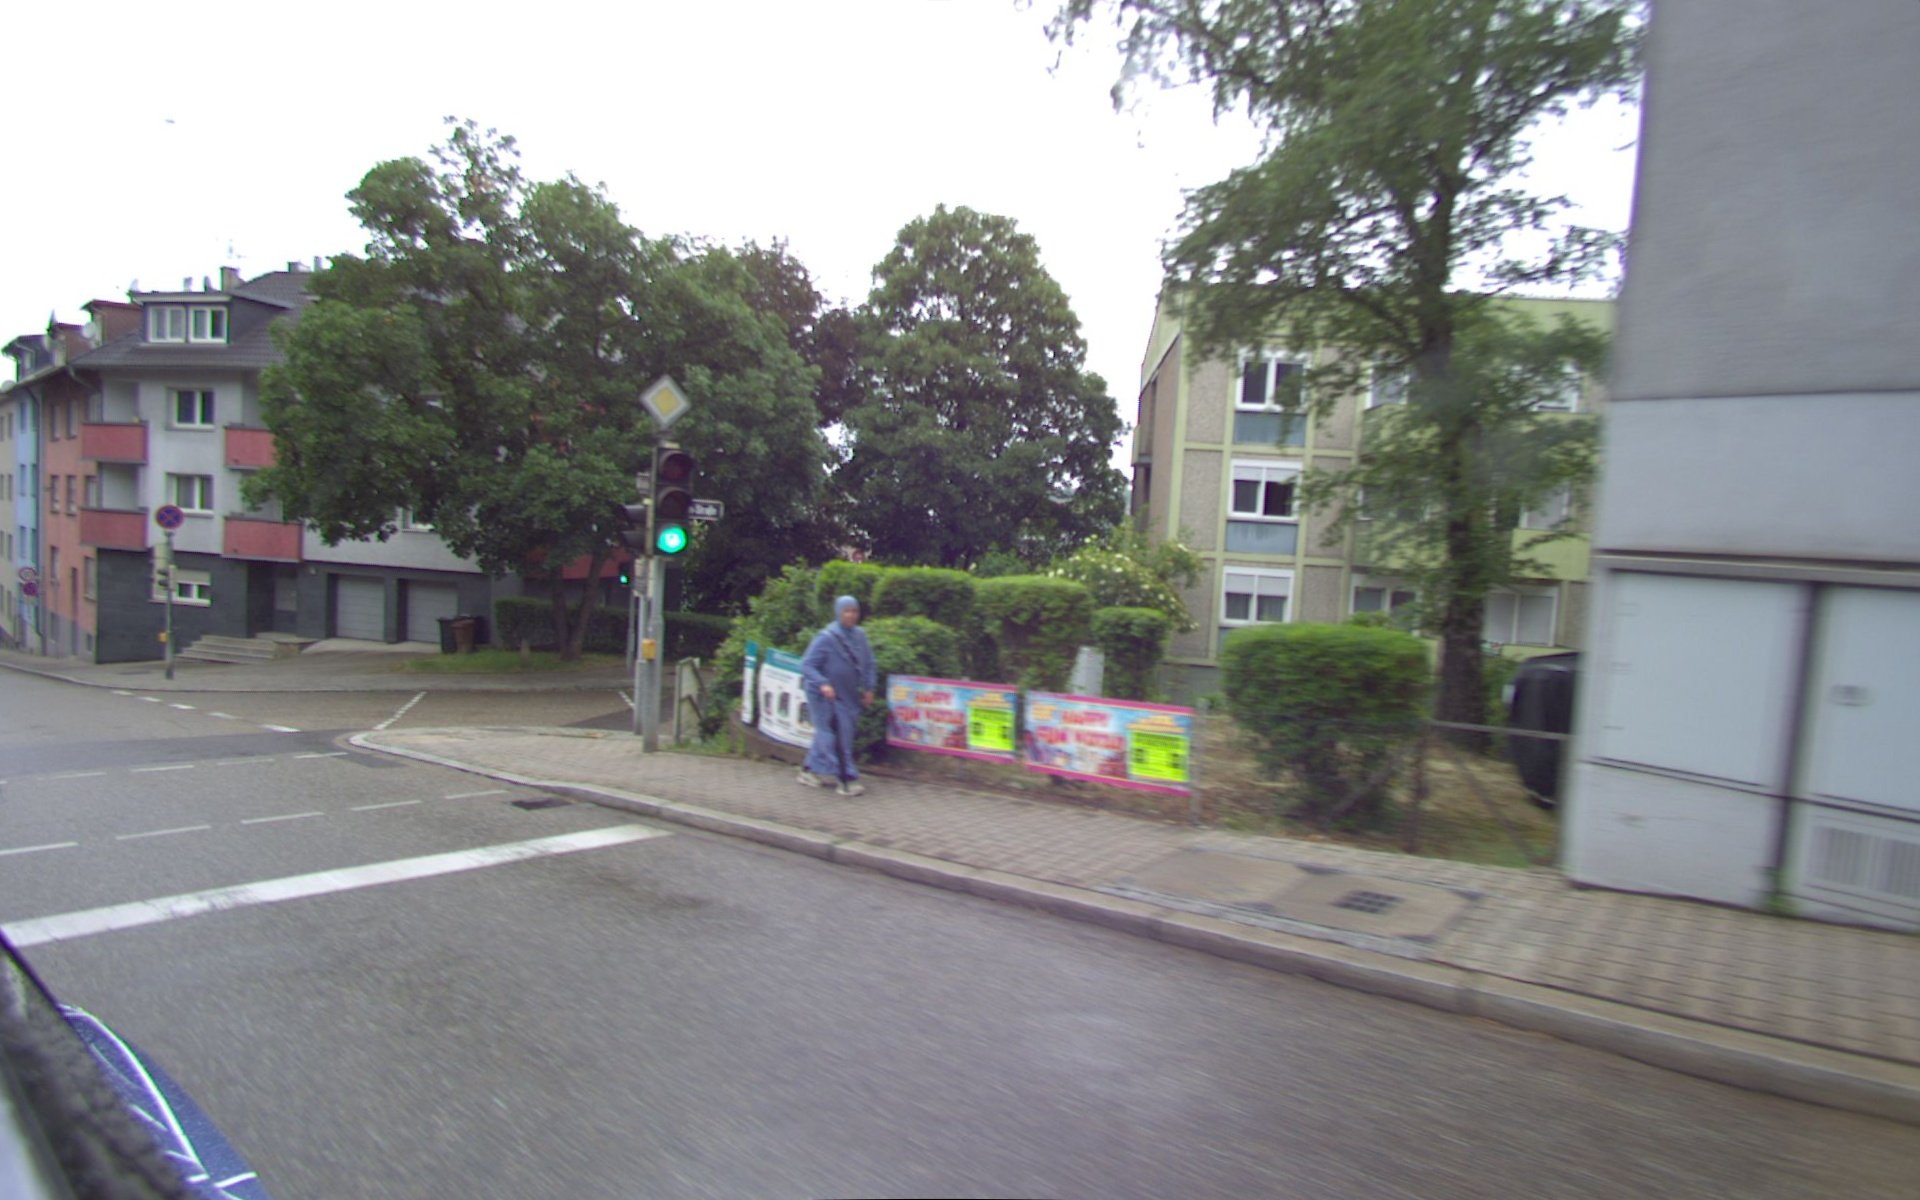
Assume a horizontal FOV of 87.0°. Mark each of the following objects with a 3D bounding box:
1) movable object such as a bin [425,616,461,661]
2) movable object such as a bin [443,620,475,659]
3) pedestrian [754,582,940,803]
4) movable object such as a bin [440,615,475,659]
[{"bbox_3d":[-14.532,1.070,28.439,0.682,1.208,0.558,0,2,15],"label":"movable object such as a bin"},{"bbox_3d":[-13.950,1.094,28.179,0.496,1.023,0.627,0,2,16],"label":"movable object such as a bin"},{"bbox_3d":[-0.876,0.671,7.846,1.086,1.553,0.861,-3,0,38],"label":"pedestrian"},{"bbox_3d":[-14.403,1.050,29.009,0.682,1.208,0.558,0,2,15],"label":"movable object such as a bin"}]
